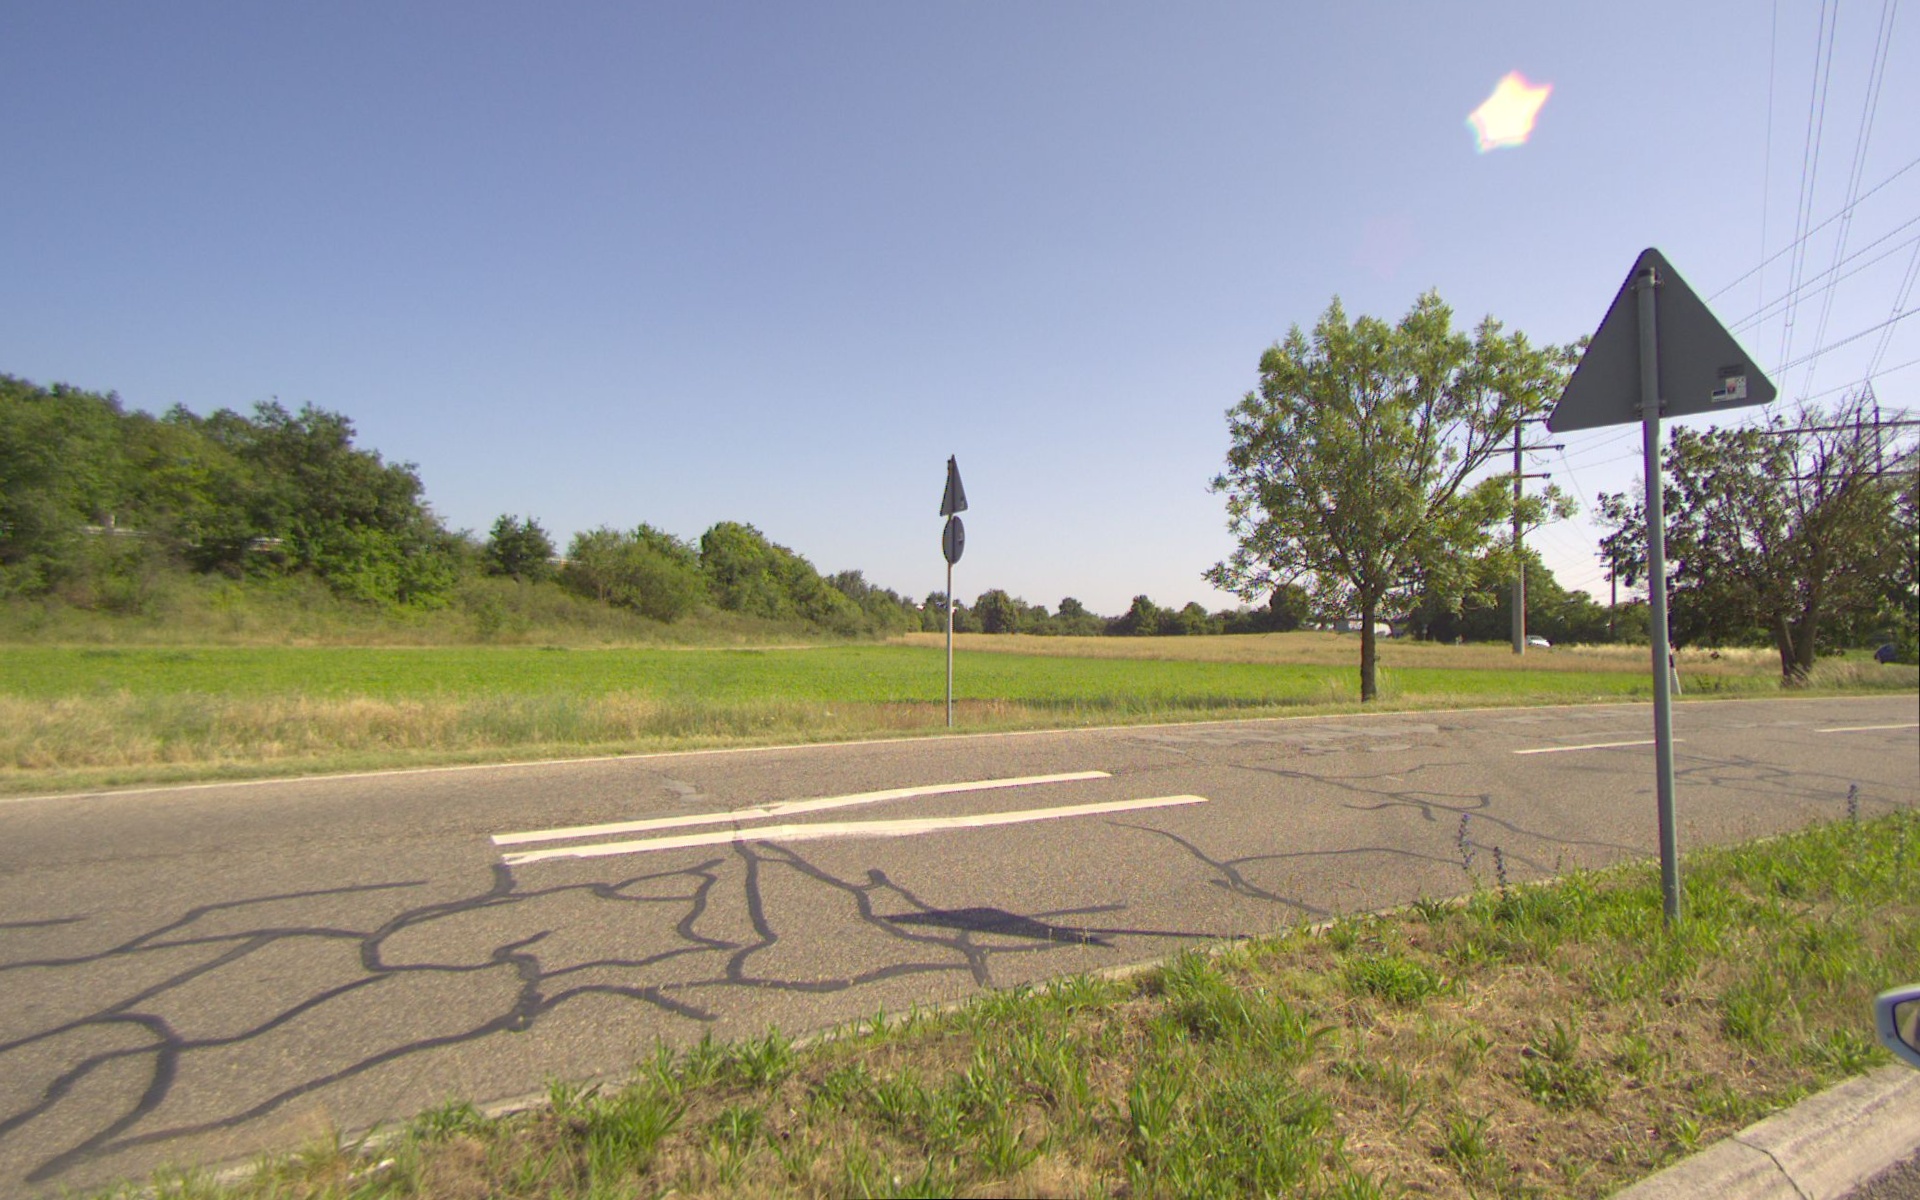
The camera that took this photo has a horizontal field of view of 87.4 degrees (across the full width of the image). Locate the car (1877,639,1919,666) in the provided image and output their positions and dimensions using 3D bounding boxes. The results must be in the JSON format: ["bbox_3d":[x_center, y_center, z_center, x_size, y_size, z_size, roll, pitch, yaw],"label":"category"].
[{"bbox_3d":[61.718,3.404,64.804,1.783,1.673,4.003,1,-1,8],"label":"car"}]

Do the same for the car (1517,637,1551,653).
[{"bbox_3d":[65.593,5.127,114.857,1.783,1.673,4.764,1,-1,8],"label":"car"}]
